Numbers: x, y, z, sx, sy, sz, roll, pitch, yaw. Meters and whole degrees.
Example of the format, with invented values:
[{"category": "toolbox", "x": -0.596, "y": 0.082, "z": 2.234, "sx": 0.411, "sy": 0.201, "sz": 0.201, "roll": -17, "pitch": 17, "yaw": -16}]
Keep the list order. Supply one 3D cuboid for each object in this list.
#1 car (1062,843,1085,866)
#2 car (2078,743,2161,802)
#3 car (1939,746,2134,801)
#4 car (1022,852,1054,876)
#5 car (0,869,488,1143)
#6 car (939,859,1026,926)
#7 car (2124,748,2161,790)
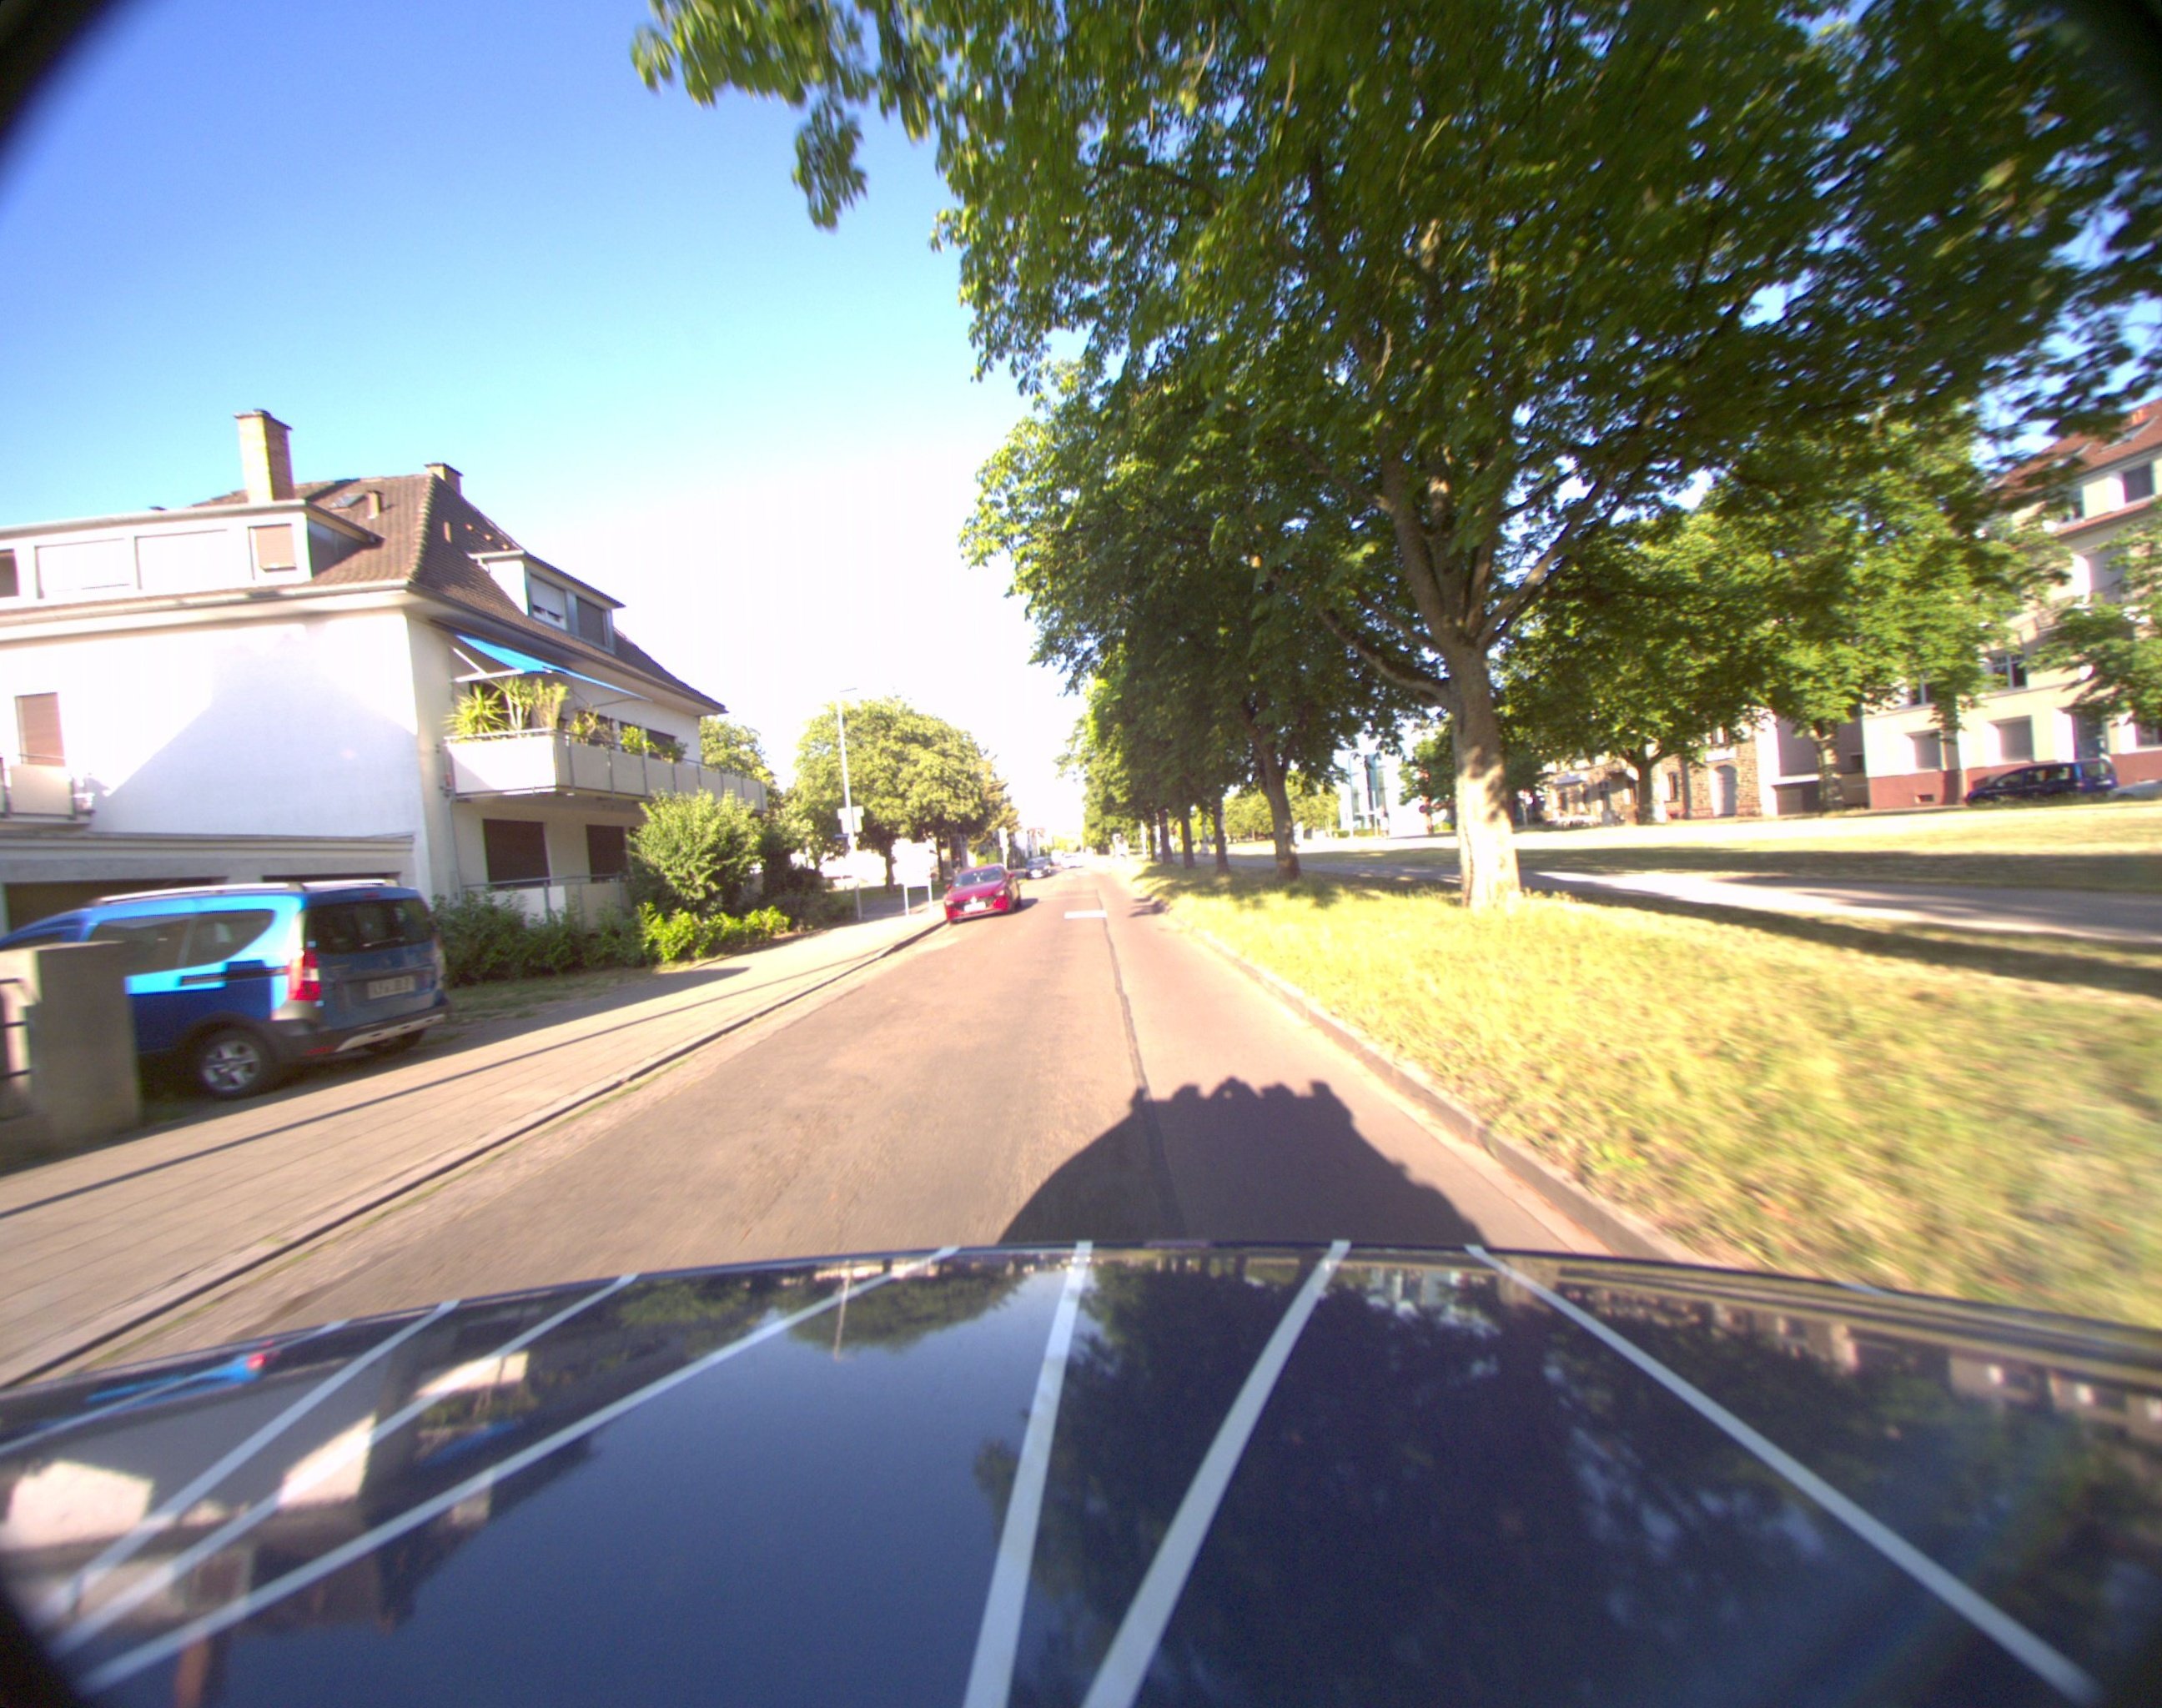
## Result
[{"category": "car", "x": -0.726, "y": 0.032, "z": 77.163, "sx": 1.998, "sy": 2.002, "sz": 3.999, "roll": -6, "pitch": 1, "yaw": 1}, {"category": "car", "x": 34.153, "y": -2.628, "z": 22.806, "sx": 1.998, "sy": 1.680, "sz": 4.875, "roll": -6, "pitch": 1, "yaw": 1}, {"category": "car", "x": 40.144, "y": -3.324, "z": 32.174, "sx": 1.999, "sy": 1.680, "sz": 4.874, "roll": -6, "pitch": 1, "yaw": -1}, {"category": "car", "x": -3.109, "y": 0.704, "z": 55.883, "sx": 1.998, "sy": 1.576, "sz": 4.346, "roll": -3, "pitch": 1, "yaw": 1}, {"category": "car", "x": -8.431, "y": 1.321, "z": 7.080, "sx": 3.998, "sy": 1.917, "sz": 1.999, "roll": -6, "pitch": 1, "yaw": -3}, {"category": "car", "x": -2.708, "y": 1.007, "z": 21.826, "sx": 1.824, "sy": 1.486, "sz": 4.223, "roll": -6, "pitch": 1, "yaw": 0}, {"category": "car", "x": 40.055, "y": -3.173, "z": 25.979, "sx": 1.999, "sy": 1.445, "sz": 4.874, "roll": -6, "pitch": 1, "yaw": -1}]
